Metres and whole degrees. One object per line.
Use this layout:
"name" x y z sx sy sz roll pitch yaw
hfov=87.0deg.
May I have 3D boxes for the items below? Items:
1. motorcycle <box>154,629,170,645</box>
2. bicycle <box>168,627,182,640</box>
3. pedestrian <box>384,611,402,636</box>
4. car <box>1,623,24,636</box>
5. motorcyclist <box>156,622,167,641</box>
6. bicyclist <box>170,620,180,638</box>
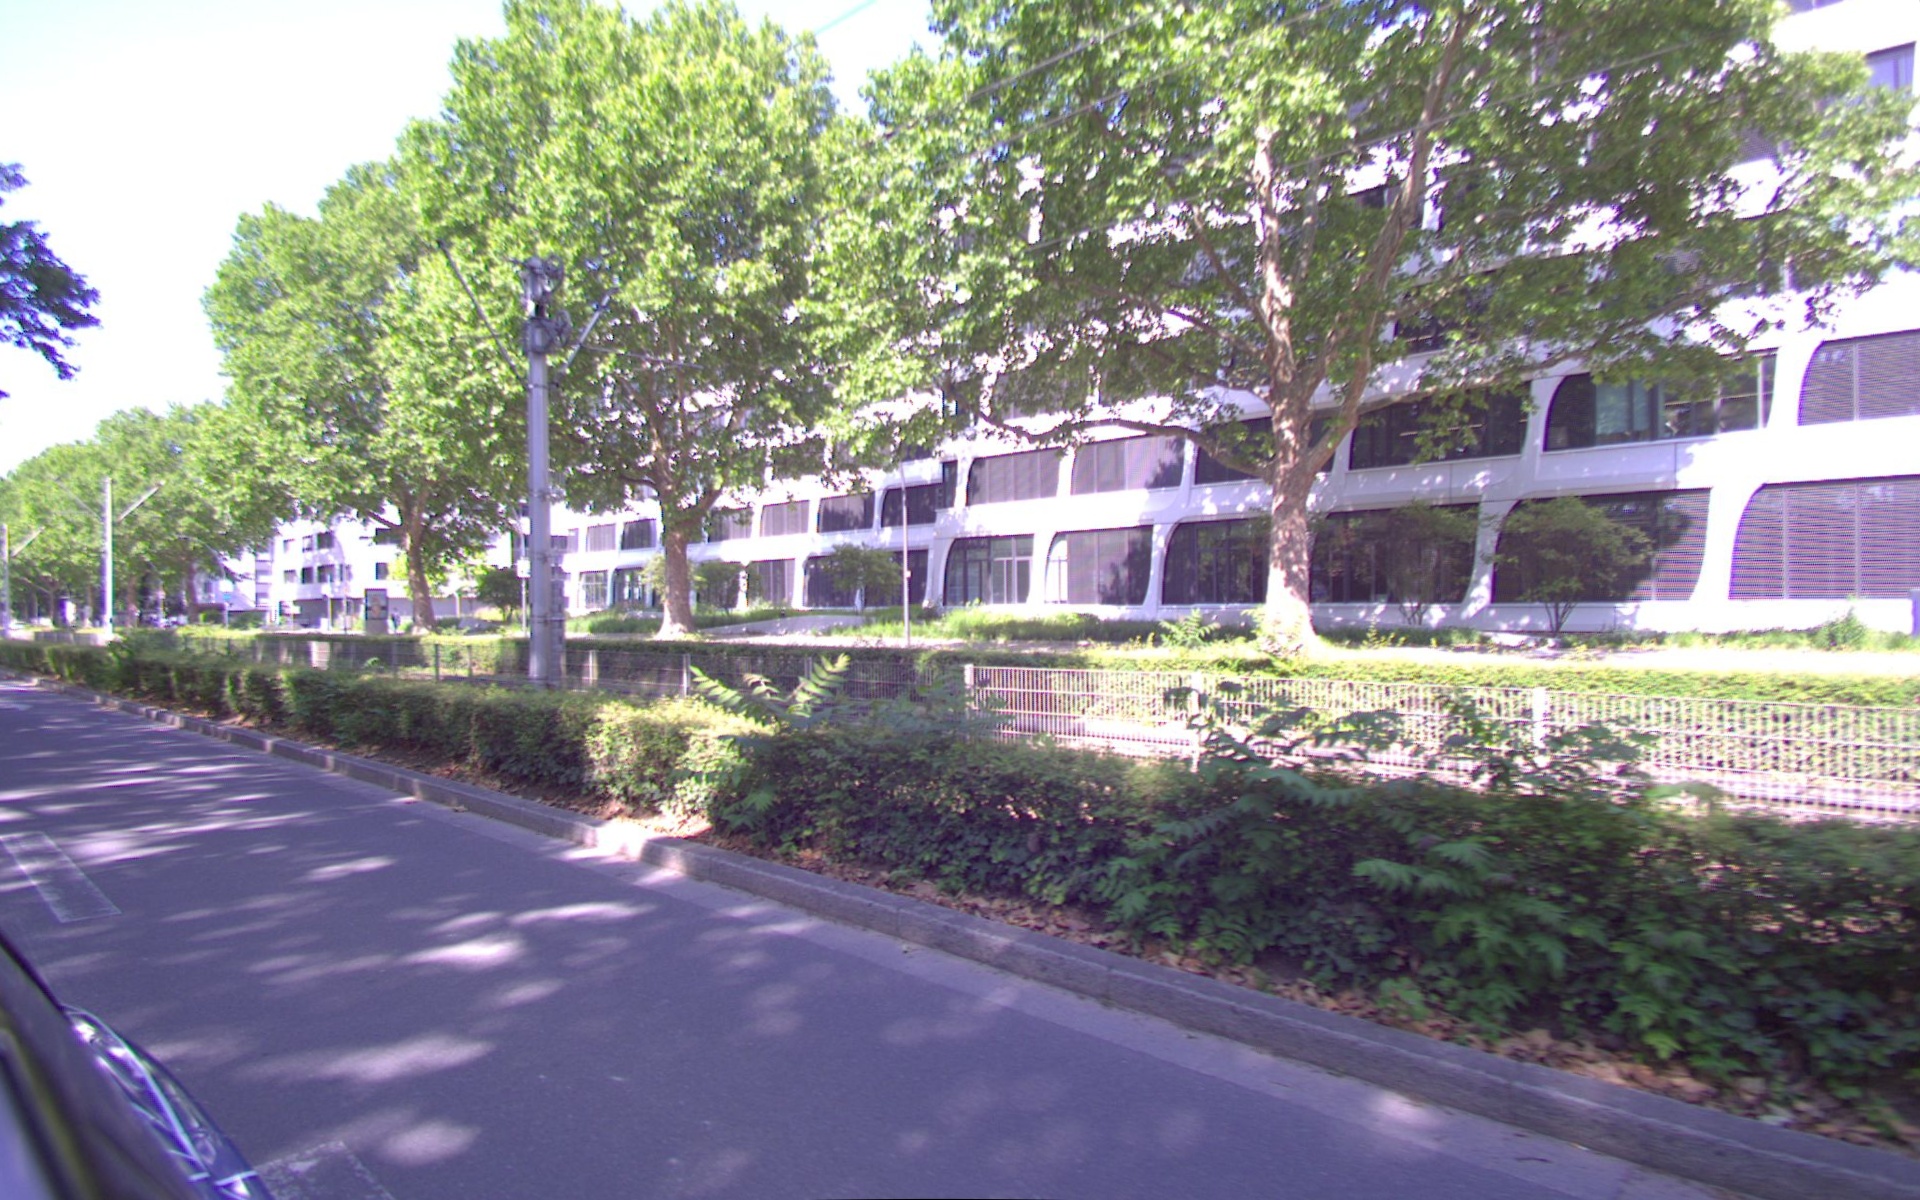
"motorcycle" -61.797 2.841 78.393 1.999 1.184 0.625 -2 -1 42
"bicycle" -70.440 2.964 90.848 2.030 1.133 0.657 -2 0 42
"pedestrian" -37.072 1.553 66.134 1.014 1.600 0.712 -2 0 42
"car" -119.357 3.754 127.455 4.018 1.581 1.738 -2 0 42
"motorcyclist" -61.899 2.437 78.485 0.533 1.468 0.574 -2 -1 42
"bicyclist" -70.495 2.587 90.894 0.641 1.546 0.647 -2 -1 42
